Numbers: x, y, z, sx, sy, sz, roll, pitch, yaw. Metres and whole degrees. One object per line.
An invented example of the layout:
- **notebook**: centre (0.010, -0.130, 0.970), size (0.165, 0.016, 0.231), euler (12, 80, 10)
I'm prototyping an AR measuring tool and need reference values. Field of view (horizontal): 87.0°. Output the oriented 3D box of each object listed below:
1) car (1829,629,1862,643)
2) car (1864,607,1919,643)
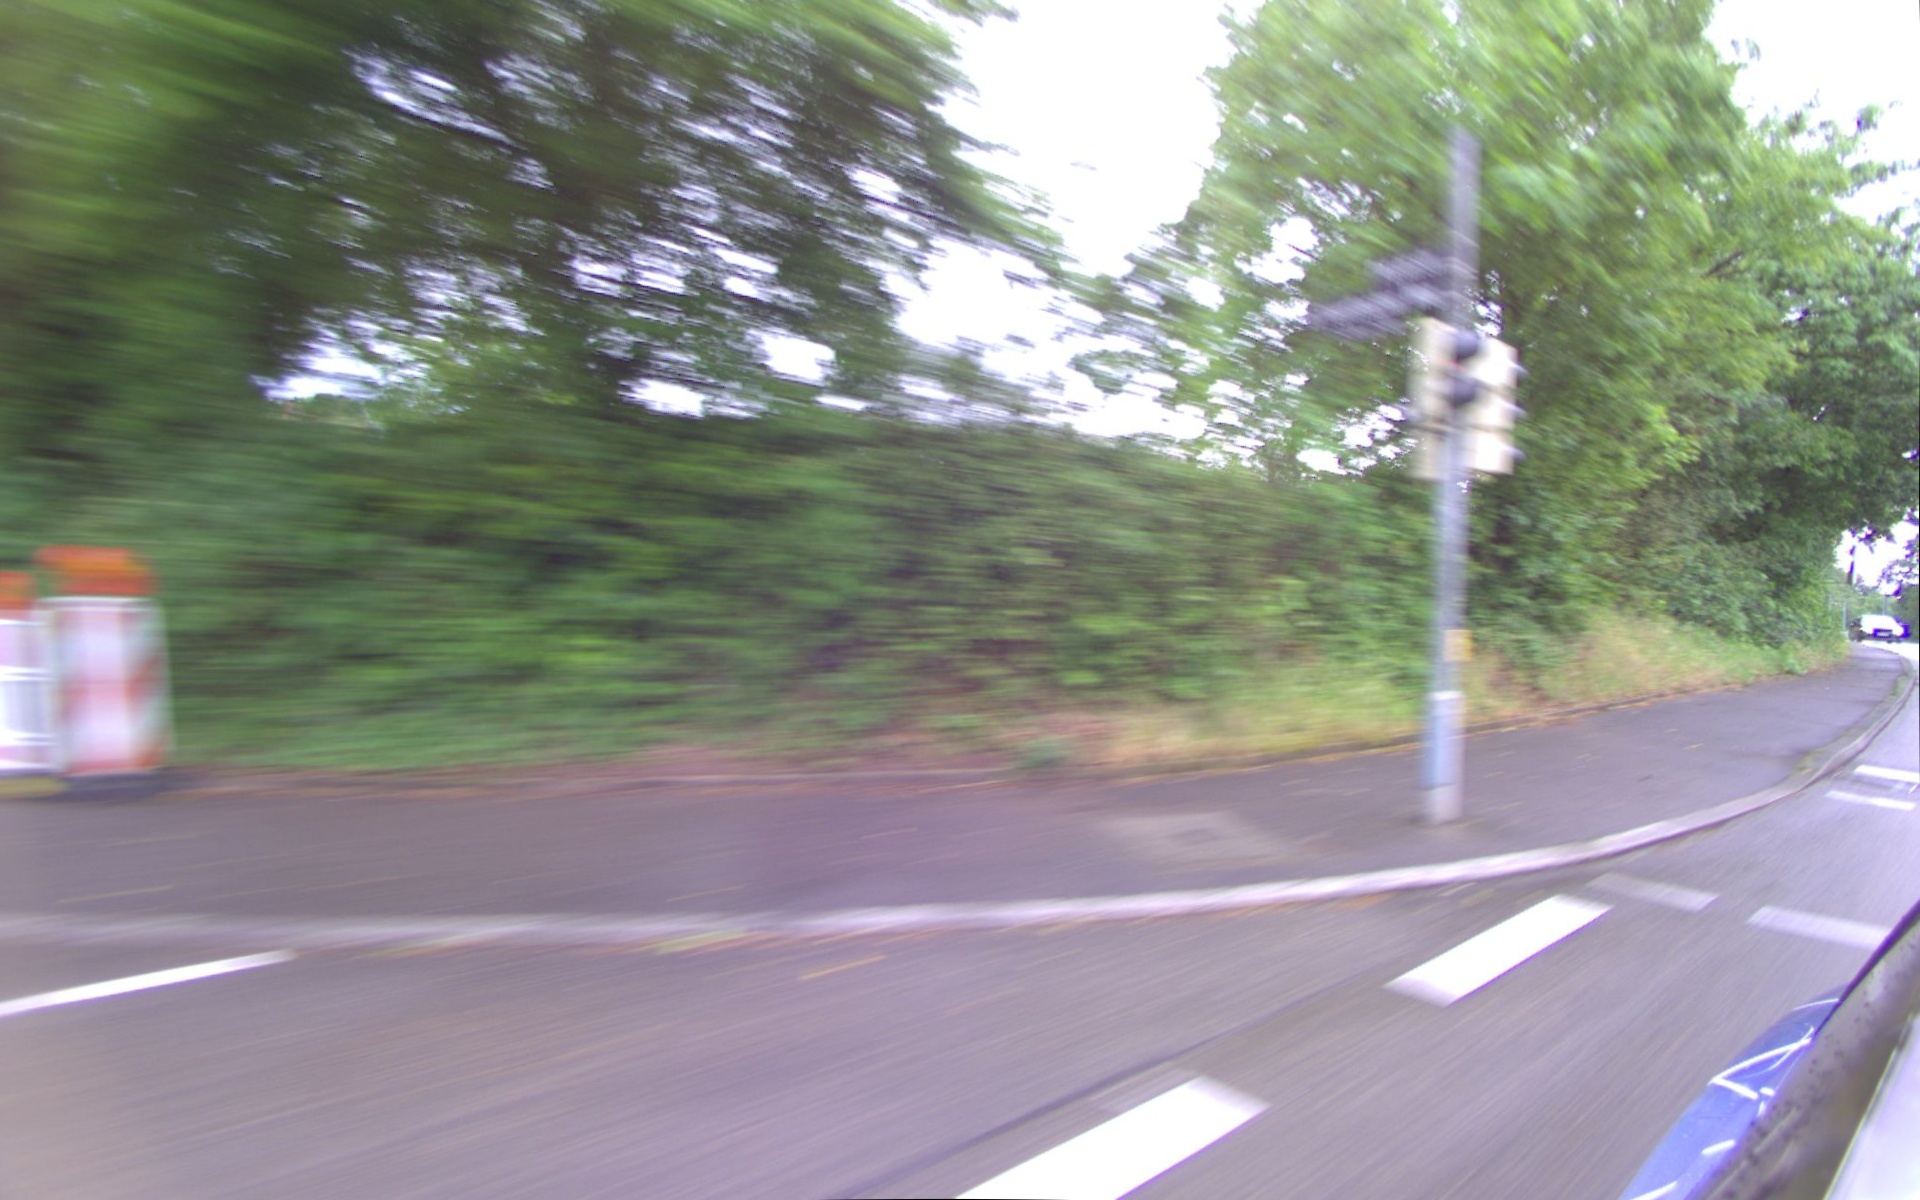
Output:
- **car**: centre (98.375, 4.025, 112.514), size (1.866, 1.391, 4.337), euler (3, 0, 30)
- **car**: centre (48.359, 1.328, 52.549), size (1.994, 1.605, 3.938), euler (6, 1, 42)
